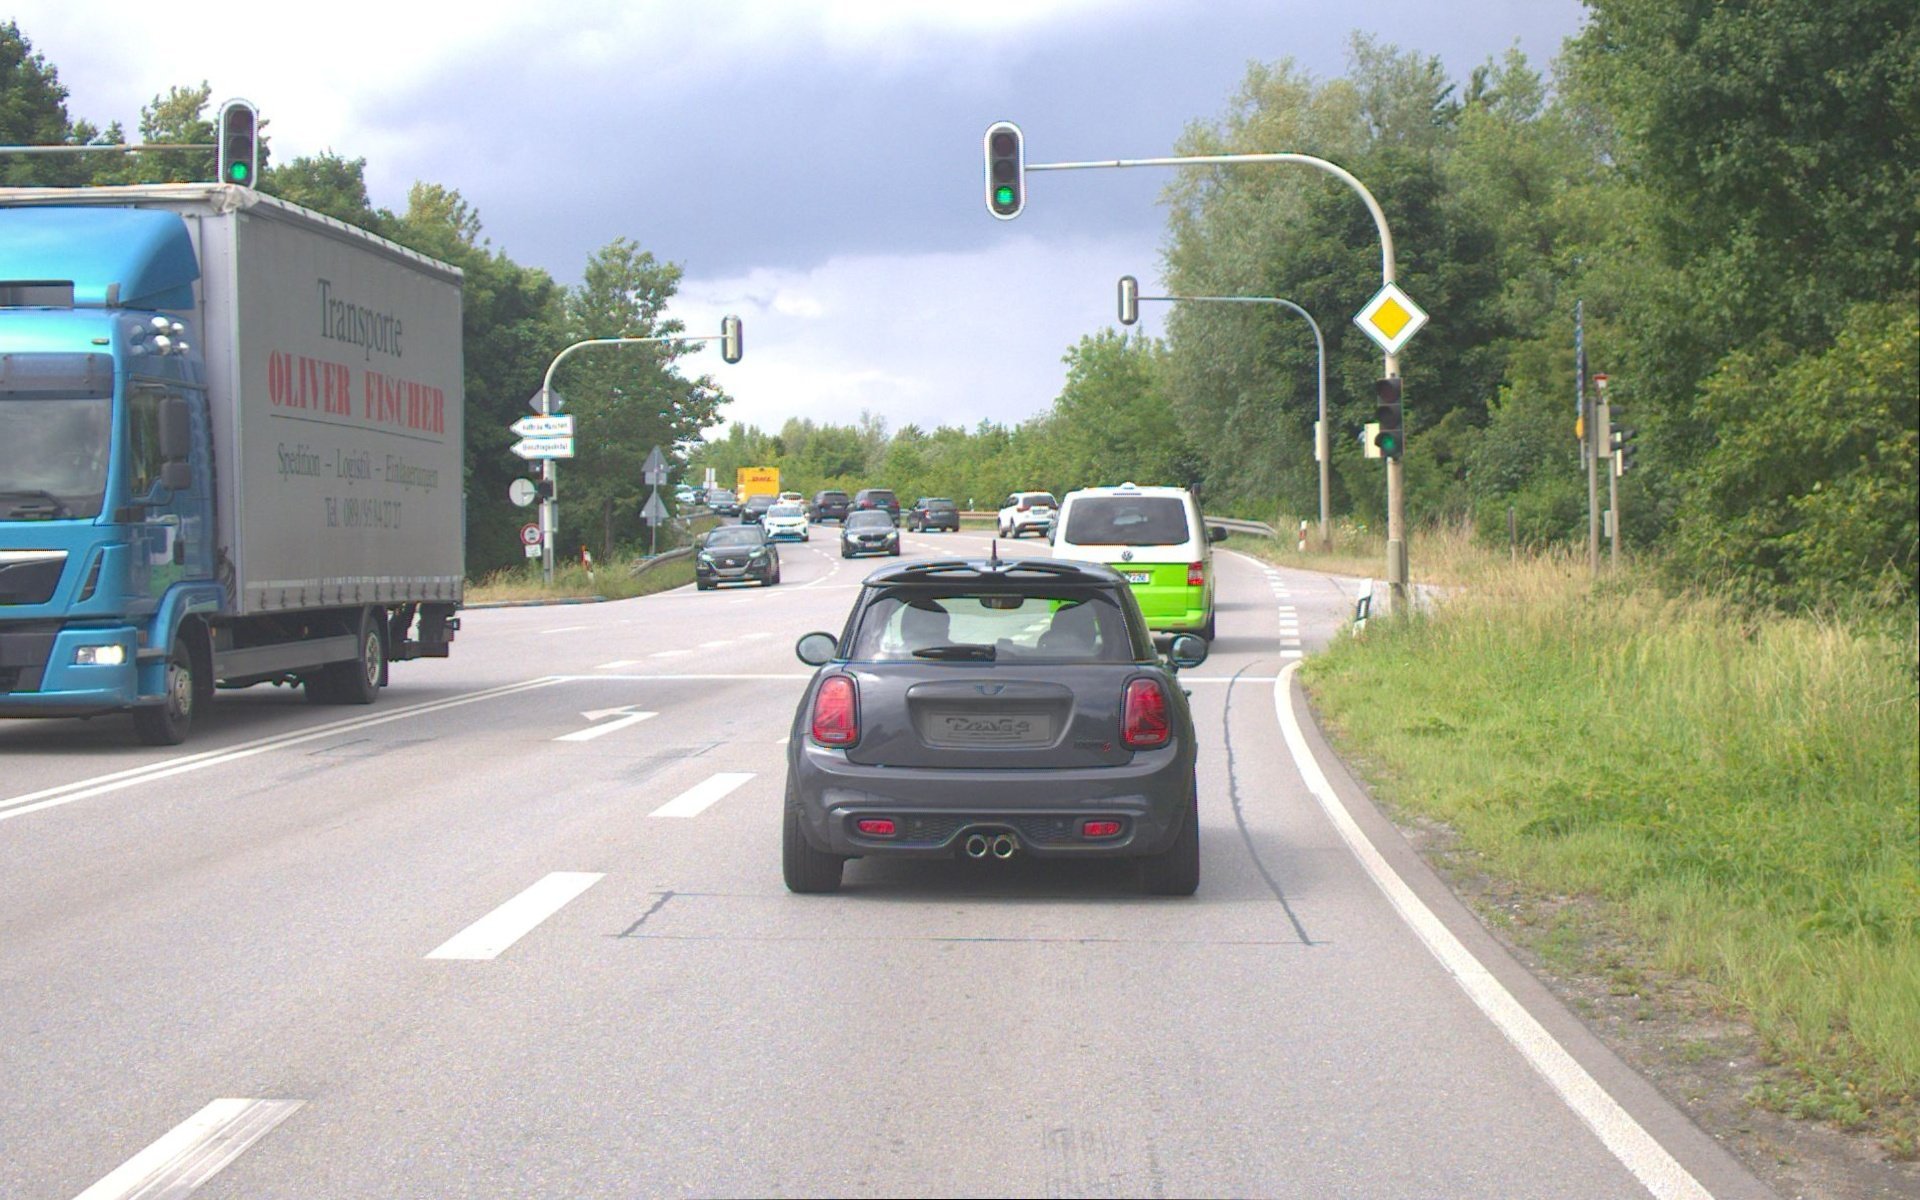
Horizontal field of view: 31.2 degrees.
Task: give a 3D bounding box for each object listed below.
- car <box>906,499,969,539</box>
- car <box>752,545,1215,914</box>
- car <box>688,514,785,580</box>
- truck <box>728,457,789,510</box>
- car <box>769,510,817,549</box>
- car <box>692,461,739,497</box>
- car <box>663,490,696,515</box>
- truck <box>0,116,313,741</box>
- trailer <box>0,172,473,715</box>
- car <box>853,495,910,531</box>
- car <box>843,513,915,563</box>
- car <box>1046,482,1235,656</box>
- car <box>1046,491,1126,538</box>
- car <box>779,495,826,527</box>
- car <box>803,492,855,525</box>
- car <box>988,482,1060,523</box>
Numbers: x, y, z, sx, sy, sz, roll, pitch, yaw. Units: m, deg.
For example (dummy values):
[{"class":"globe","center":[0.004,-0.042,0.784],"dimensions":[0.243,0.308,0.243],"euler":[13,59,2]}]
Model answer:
[{"class":"car","center":[-0.990,-3.481,147.566],"dimensions":[1.993,1.690,4.487],"euler":[0,1,-10]},{"class":"car","center":[0.109,0.487,15.660],"dimensions":[1.845,1.423,3.841],"euler":[0,2,0]},{"class":"car","center":[-5.502,-1.320,85.088],"dimensions":[1.791,1.568,4.000],"euler":[-1,1,5]},{"class":"truck","center":[-12.571,-7.224,214.033],"dimensions":[2.716,2.888,8.773],"euler":[0,0,-10]},{"class":"car","center":[-6.655,-2.837,137.370],"dimensions":[1.729,1.499,4.347],"euler":[-1,2,0]},{"class":"car","center":[-11.816,-5.857,165.756],"dimensions":[1.993,1.684,4.001],"euler":[-1,2,-7]},{"class":"car","center":[-18.749,-6.544,229.962],"dimensions":[1.993,1.607,4.001],"euler":[-1,2,-7]},{"class":"truck","center":[-6.387,-1.153,24.533],"dimensions":[2.540,4.082,4.000],"euler":[0,1,4]},{"class":"trailer","center":[-6.105,-1.242,29.326],"dimensions":[2.527,4.087,6.734],"euler":[0,1,4]},{"class":"car","center":[-3.712,-4.096,162.000],"dimensions":[1.993,1.690,4.487],"euler":[0,1,-10]},{"class":"car","center":[-2.633,-2.049,112.996],"dimensions":[1.788,1.524,4.903],"euler":[-3,1,5]},{"class":"car","center":[2.226,-0.426,41.512],"dimensions":[1.845,1.980,3.840],"euler":[0,2,10]},{"class":"car","center":[4.030,-2.748,110.478],"dimensions":[1.993,1.471,4.486],"euler":[0,1,-5]},{"class":"car","center":[-9.079,-5.109,197.539],"dimensions":[1.993,1.781,4.487],"euler":[-1,1,-12]},{"class":"car","center":[-6.823,-4.739,178.479],"dimensions":[1.993,1.690,4.487],"euler":[-1,1,-12]},{"class":"car","center":[2.367,-3.626,128.442],"dimensions":[1.993,1.471,4.487],"euler":[0,1,-8]}]
